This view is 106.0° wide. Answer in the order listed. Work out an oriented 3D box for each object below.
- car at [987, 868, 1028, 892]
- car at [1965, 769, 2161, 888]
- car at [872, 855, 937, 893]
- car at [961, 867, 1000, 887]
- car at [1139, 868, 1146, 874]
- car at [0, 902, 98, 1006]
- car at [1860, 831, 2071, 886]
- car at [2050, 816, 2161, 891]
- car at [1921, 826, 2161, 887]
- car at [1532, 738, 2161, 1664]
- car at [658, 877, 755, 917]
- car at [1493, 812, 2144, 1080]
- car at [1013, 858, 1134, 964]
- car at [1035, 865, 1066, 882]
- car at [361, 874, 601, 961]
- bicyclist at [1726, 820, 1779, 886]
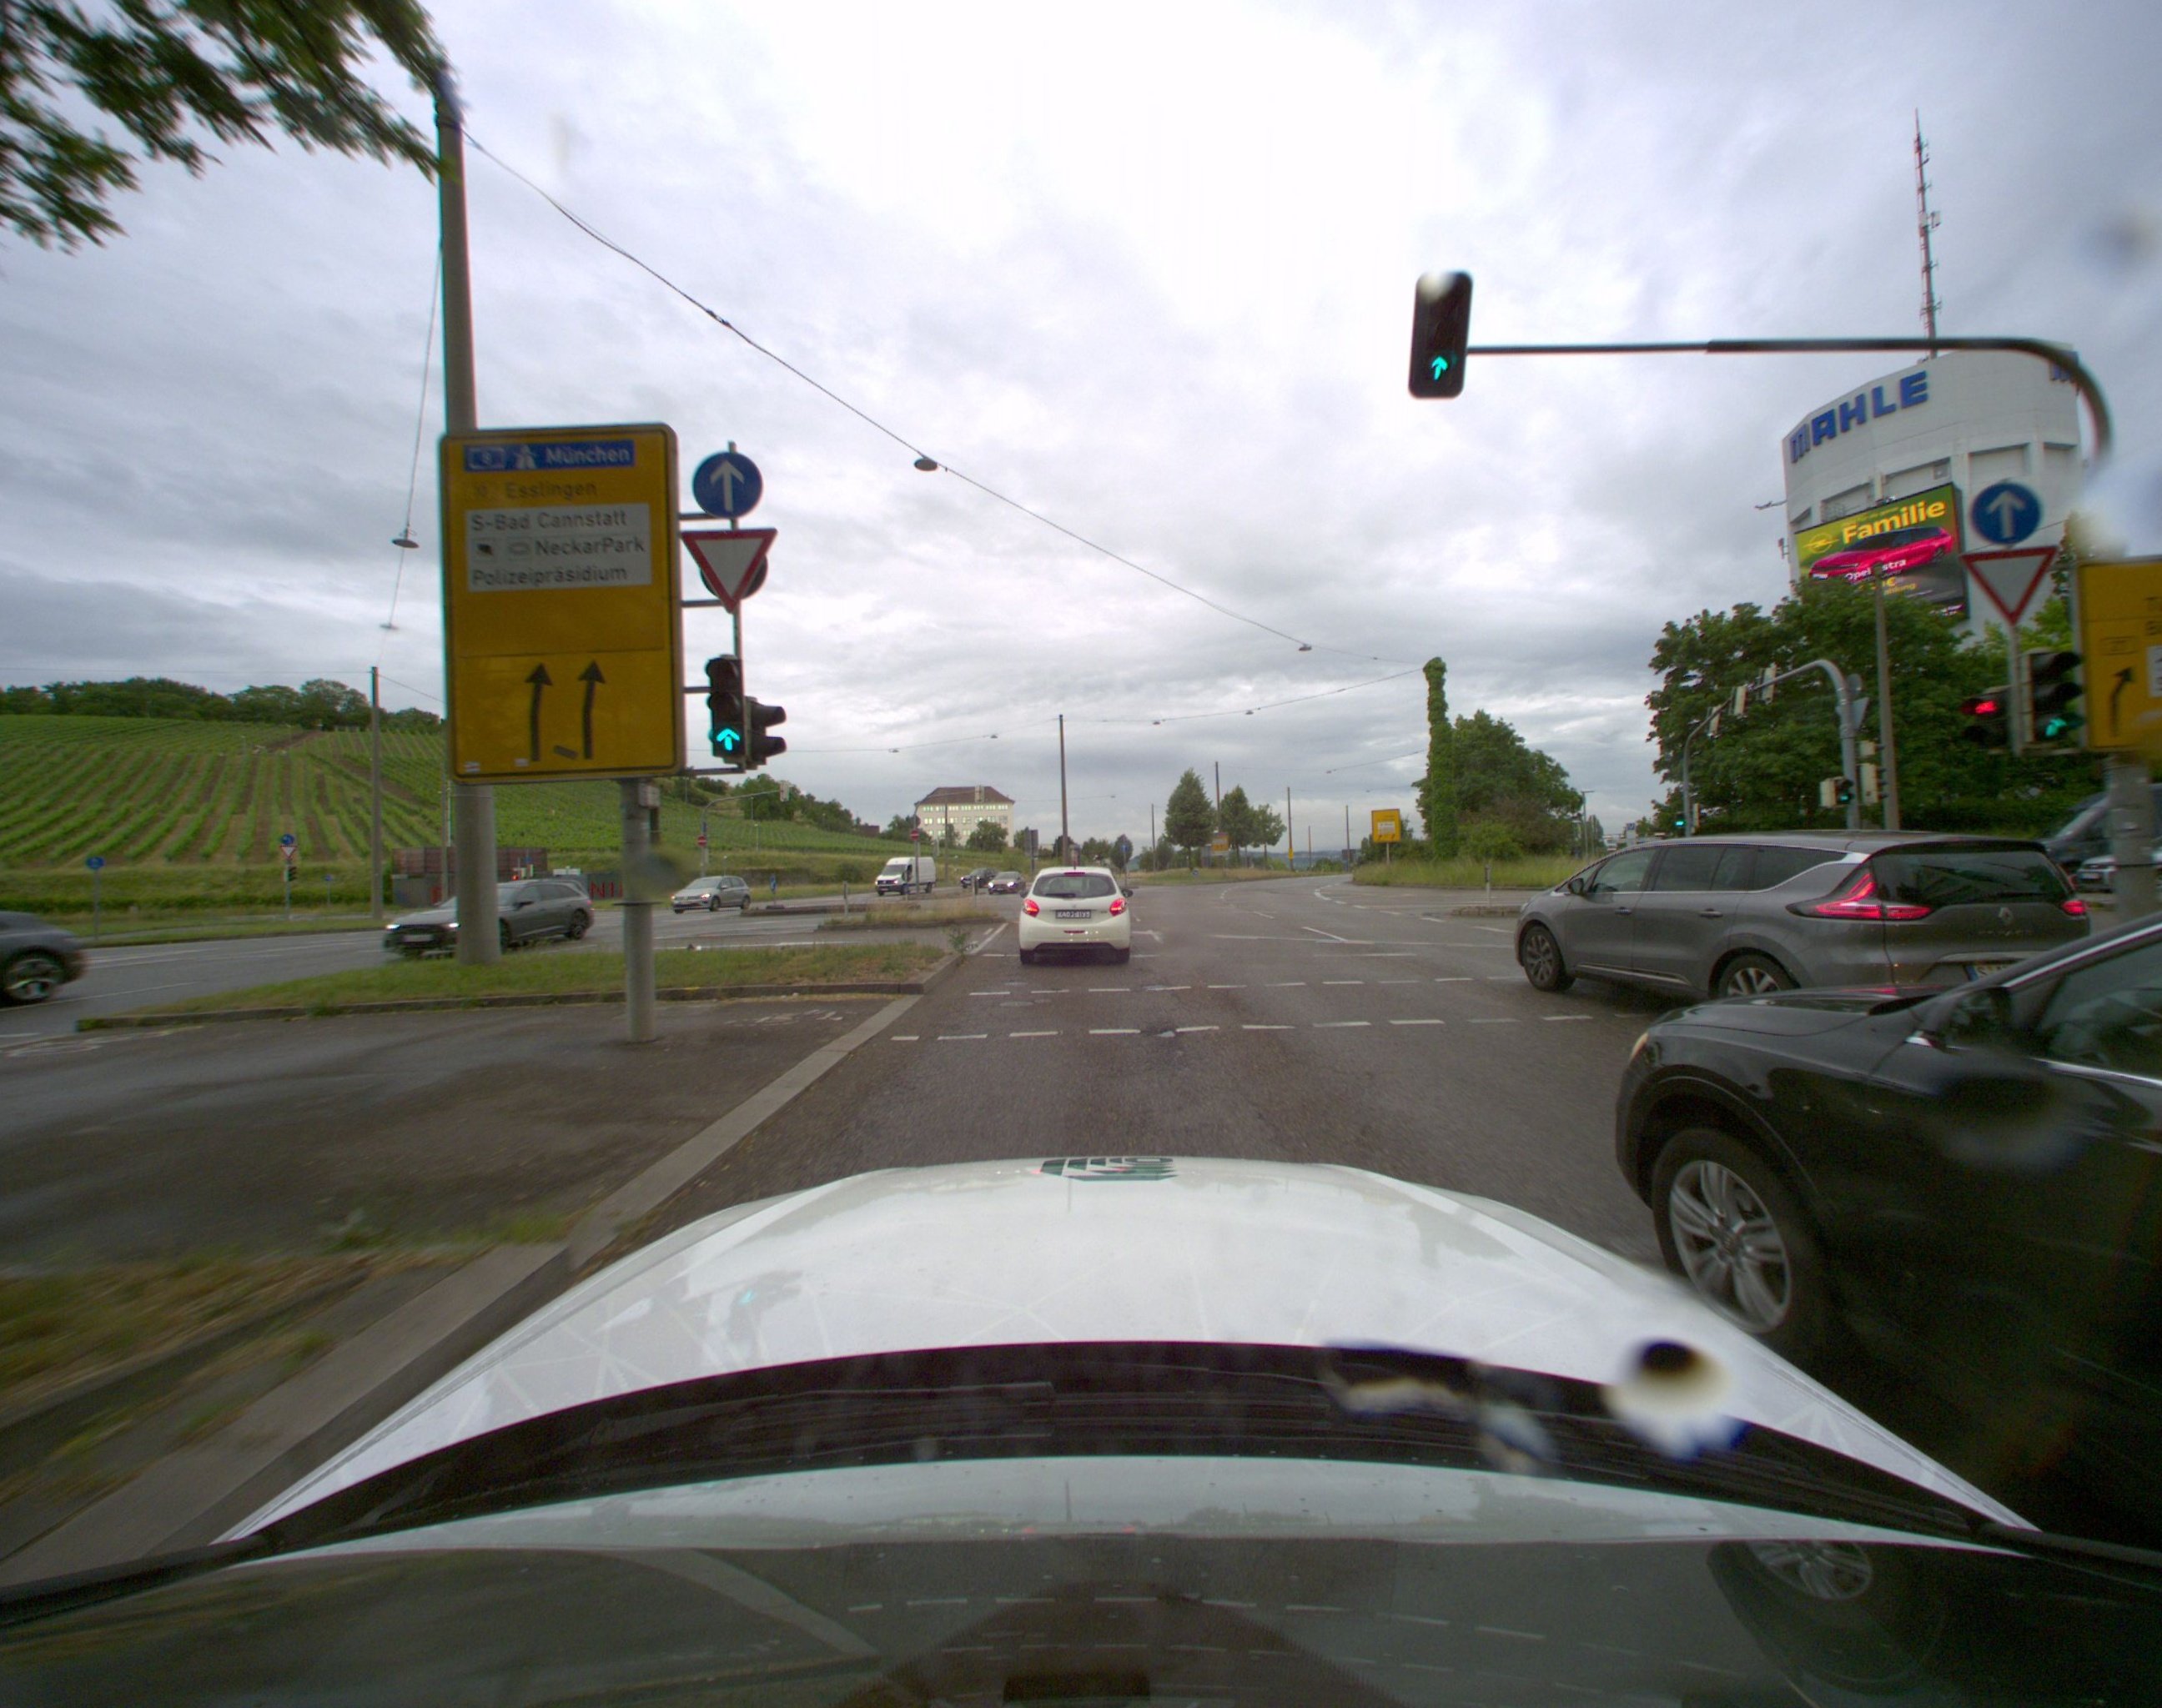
[{"bbox_3d":[-4.756,1.689,53.162,1.766,1.425,4.382,-3,-1,7],"label":"car"},{"bbox_3d":[26.079,-0.591,19.660,5.953,2.741,2.094,-2,-2,28],"label":"car"},{"bbox_3d":[-12.374,1.386,57.764,1.979,2.559,6.192,-1,-1,14],"label":"car"},{"bbox_3d":[-8.472,1.930,69.149,1.763,1.636,4.525,-1,-1,14],"label":"car"},{"bbox_3d":[17.860,4.873,235.972,1.835,1.486,3.999,-2,-1,-1],"label":"car"},{"bbox_3d":[-15.630,1.425,9.890,1.820,1.363,4.663,-2,0,-3],"label":"car"},{"bbox_3d":[27.891,0.173,25.883,4.094,1.564,1.881,-2,-1,22],"label":"car"},{"bbox_3d":[24.010,-0.022,17.246,4.012,1.569,1.881,-2,-3,25],"label":"car"},{"bbox_3d":[26.789,0.106,22.696,4.327,1.520,1.739,-2,-2,25],"label":"car"},{"bbox_3d":[2.795,0.590,1.330,1.878,1.596,4.113,0,-1,1],"label":"car"},{"bbox_3d":[-16.171,1.830,35.454,1.984,1.576,4.201,0,-1,5],"label":"car"},{"bbox_3d":[5.897,0.584,7.516,1.859,1.674,4.564,-1,0,0],"label":"car"},{"bbox_3d":[-0.072,0.863,13.768,1.712,1.489,4.000,-1,-1,1],"label":"car"},{"bbox_3d":[-2.719,1.772,73.738,1.738,1.513,4.014,-1,-1,13],"label":"car"},{"bbox_3d":[-13.075,1.295,18.248,1.897,1.489,4.887,-2,0,-3],"label":"car"},{"bbox_3d":[16.644,-0.016,20.200,0.801,1.584,1.029,-1,-2,28],"label":"bicyclist"}]
